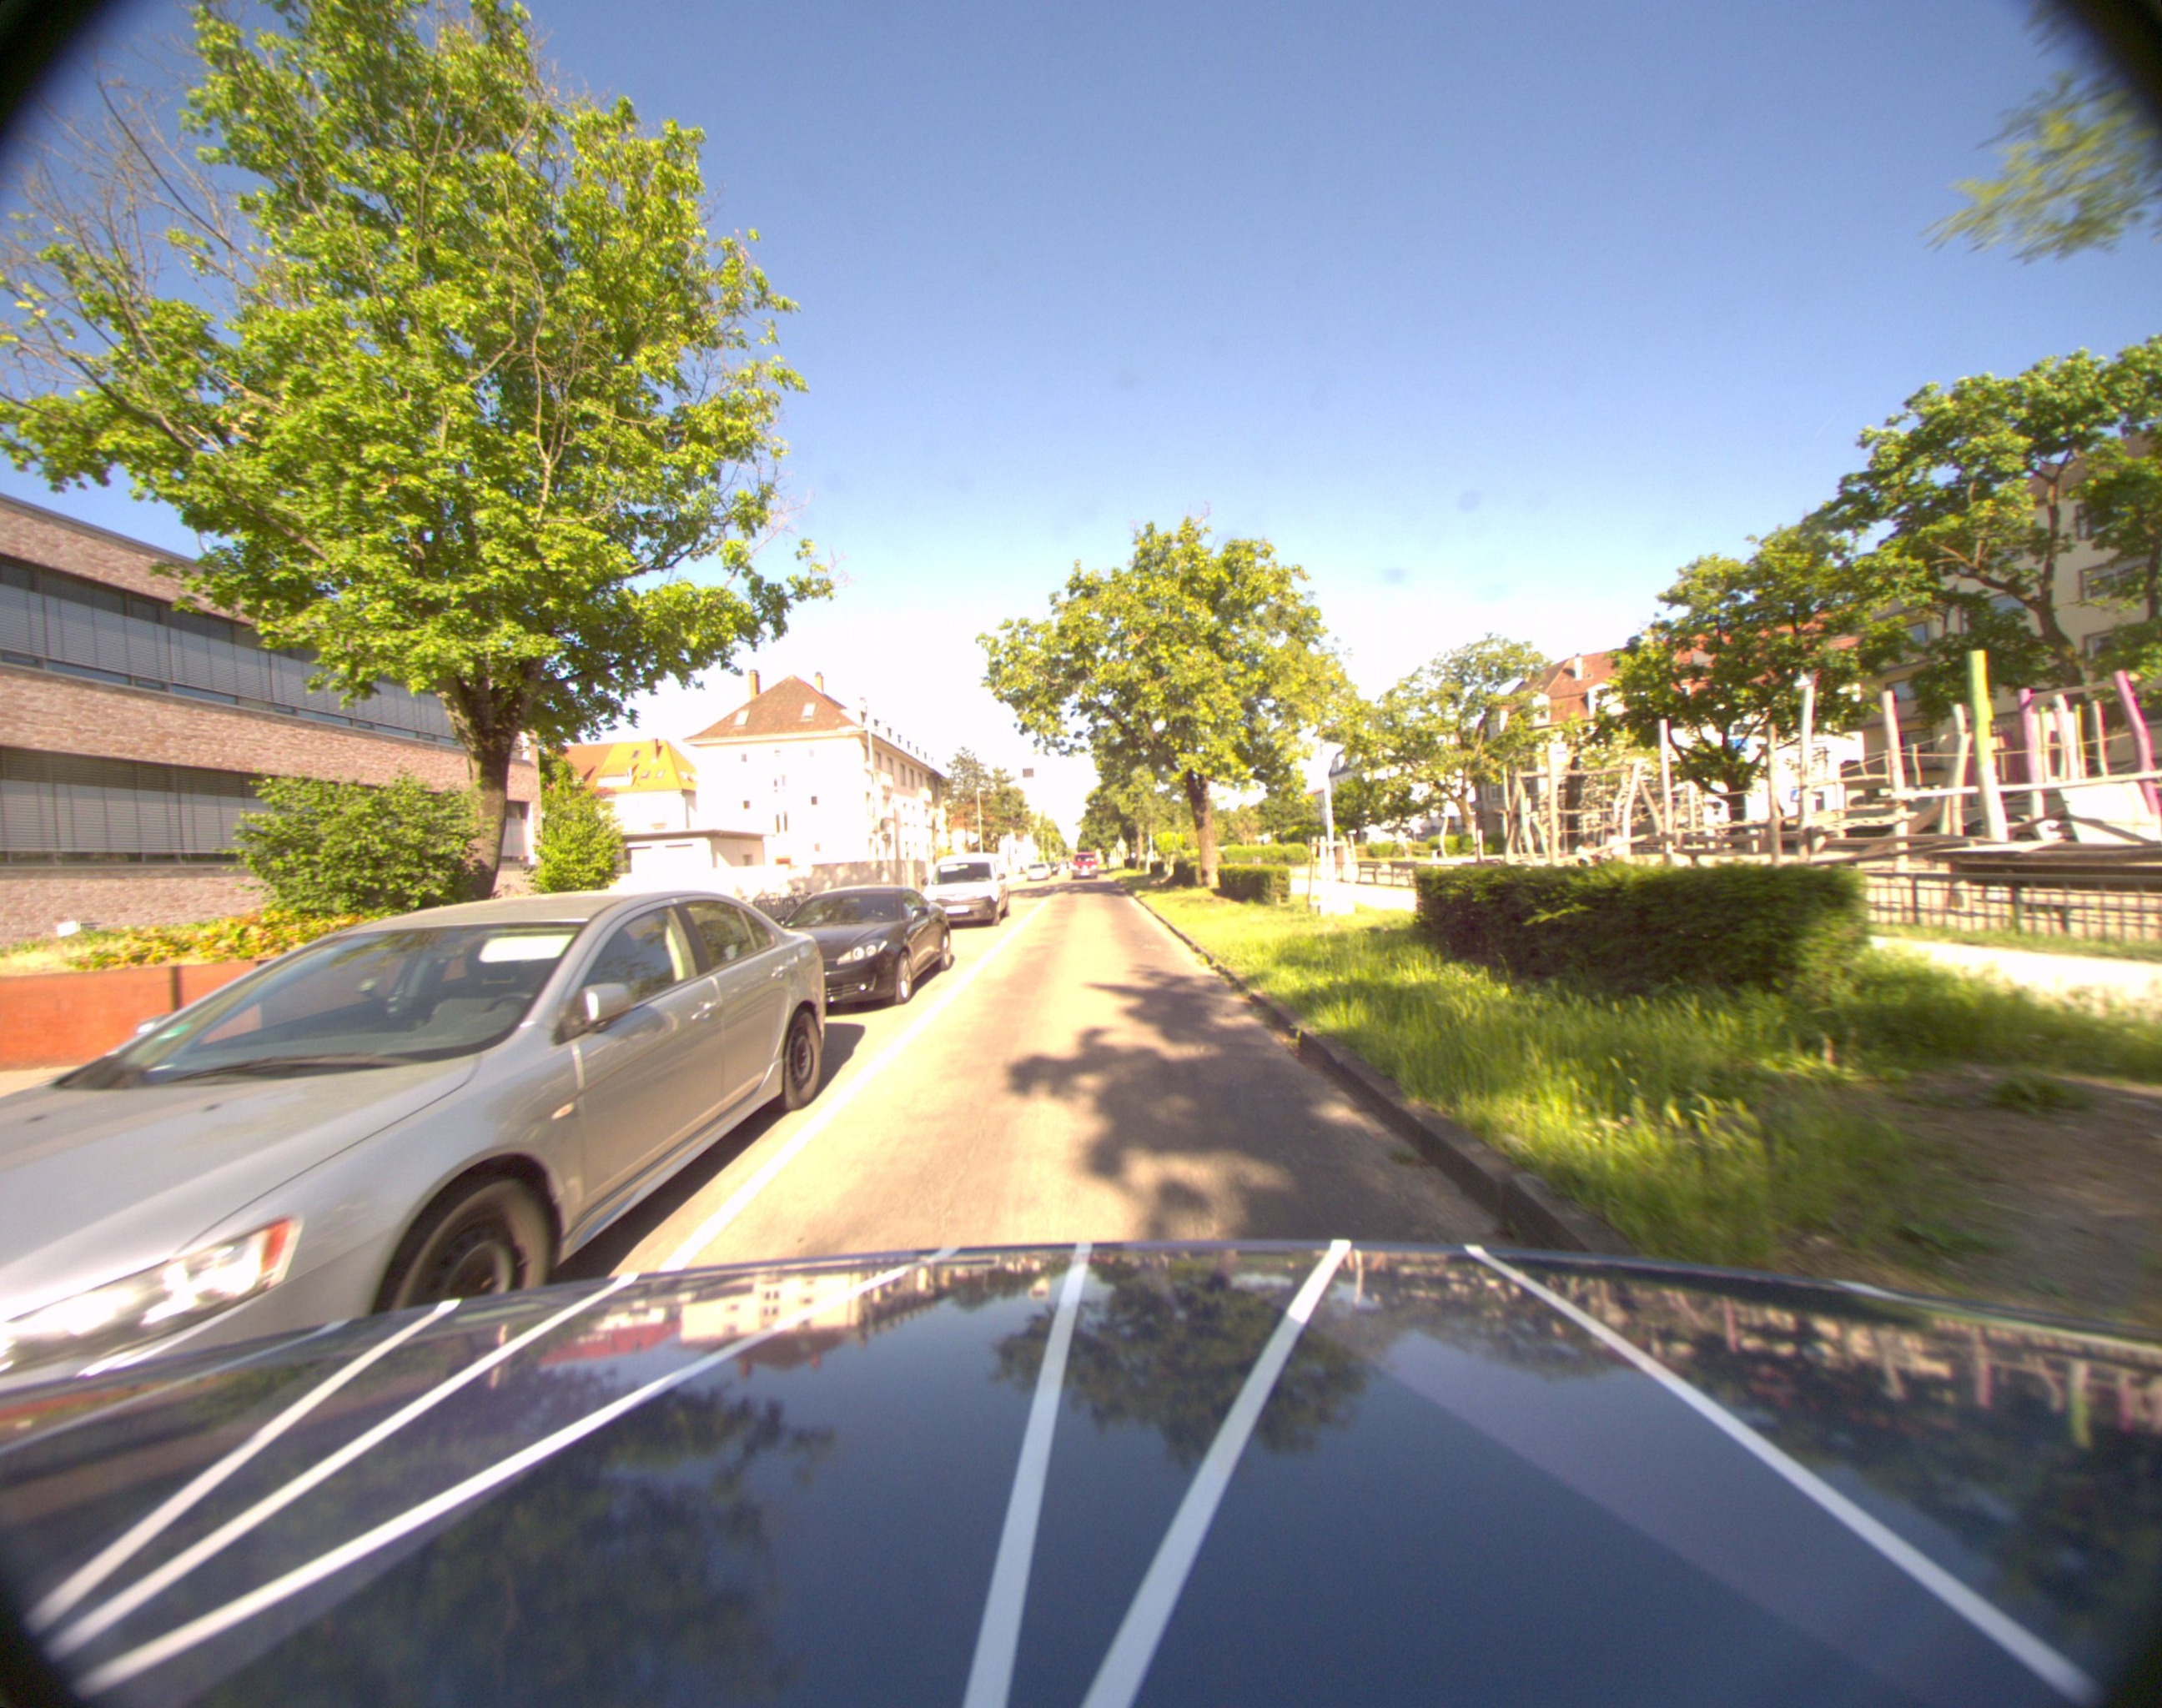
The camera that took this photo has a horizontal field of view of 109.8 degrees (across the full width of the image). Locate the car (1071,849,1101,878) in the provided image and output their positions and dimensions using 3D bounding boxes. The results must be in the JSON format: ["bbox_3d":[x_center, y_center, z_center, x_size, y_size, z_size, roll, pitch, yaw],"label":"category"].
[{"bbox_3d":[0.362,0.720,57.061,2.092,2.000,4.844,-2,0,0],"label":"car"}]

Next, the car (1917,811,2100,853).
[{"bbox_3d":[39.442,-0.880,32.541,1.911,1.501,4.764,-4,0,0],"label":"car"}]

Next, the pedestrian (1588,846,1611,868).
[{"bbox_3d":[24.147,0.137,35.386,0.542,0.973,0.778,-3,0,8],"label":"pedestrian"}]

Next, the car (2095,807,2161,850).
[{"bbox_3d":[39.490,-0.964,26.907,1.799,1.501,4.000,-4,0,1],"label":"car"}]

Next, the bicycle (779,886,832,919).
[{"bbox_3d":[-10.128,1.782,27.939,1.673,1.023,0.500,-5,0,-1],"label":"bicycle"}]

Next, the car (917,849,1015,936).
[{"bbox_3d":[-2.846,0.895,19.808,1.812,1.897,4.461,-4,0,-1],"label":"car"}]

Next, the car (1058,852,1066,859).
[{"bbox_3d":[-4.700,0.355,190.597,1.799,1.529,4.001,-3,-1,0],"label":"car"}]

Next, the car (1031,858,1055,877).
[{"bbox_3d":[-3.352,1.170,67.767,1.799,1.412,4.288,-5,0,1],"label":"car"}]

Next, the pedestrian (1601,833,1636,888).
[{"bbox_3d":[16.563,0.195,23.441,0.649,1.651,0.651,-3,0,19],"label":"pedestrian"}]

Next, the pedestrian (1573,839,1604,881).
[{"bbox_3d":[16.624,0.181,24.886,0.649,1.321,0.651,-3,0,19],"label":"pedestrian"}]

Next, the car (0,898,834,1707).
[{"bbox_3d":[-2.665,1.094,3.250,1.705,1.469,4.173,-4,0,1],"label":"car"}]

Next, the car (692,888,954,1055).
[{"bbox_3d":[-2.811,1.215,9.330,1.706,1.317,4.129,-4,0,0],"label":"car"}]

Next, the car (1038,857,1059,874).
[{"bbox_3d":[-3.322,1.163,77.417,1.799,1.501,3.995,-5,0,1],"label":"car"}]

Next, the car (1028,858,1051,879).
[{"bbox_3d":[-3.324,1.158,61.220,1.664,1.456,4.410,-5,0,-3],"label":"car"}]
